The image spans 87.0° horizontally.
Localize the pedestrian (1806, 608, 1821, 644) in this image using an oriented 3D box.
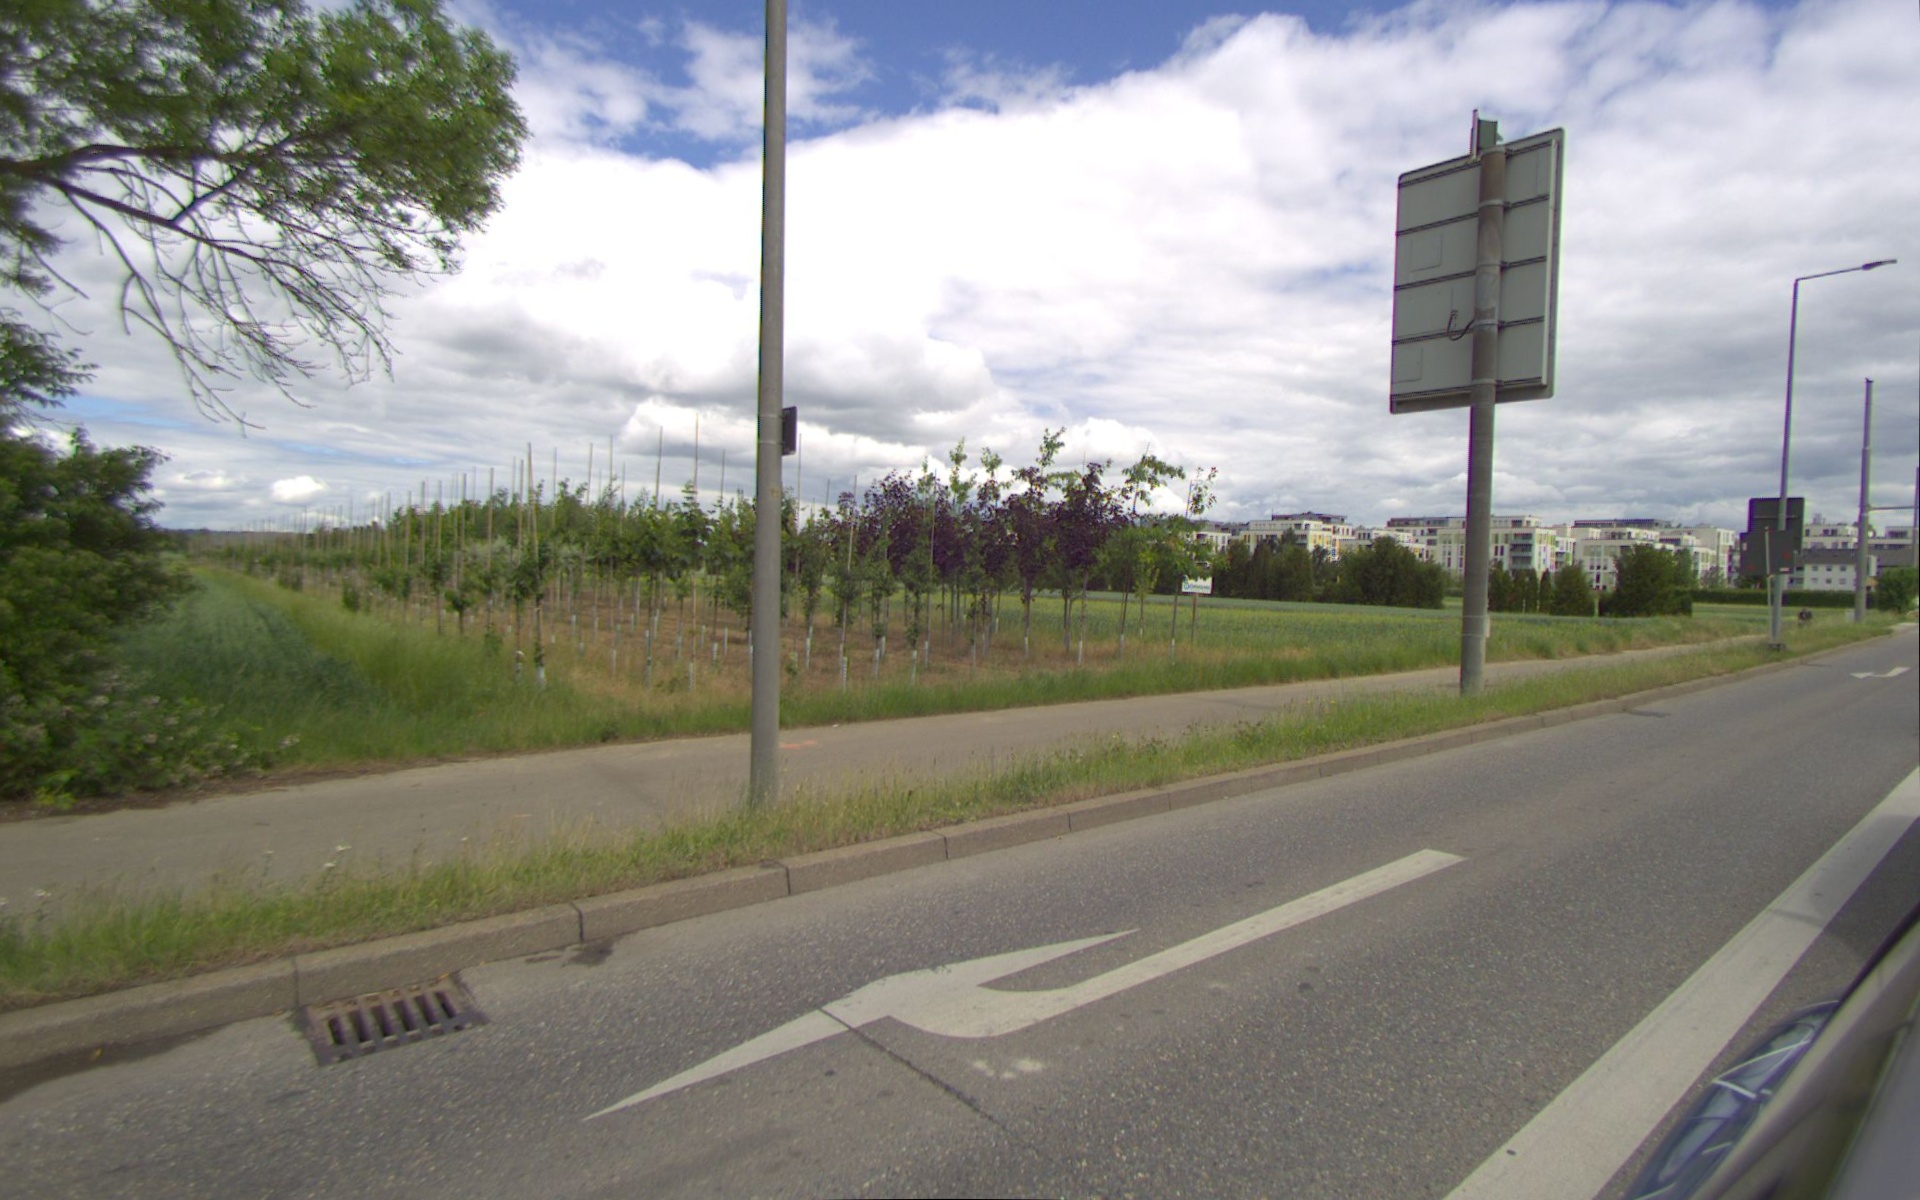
[{"bbox_3d":[41.616,1.249,49.342,0.615,1.724,0.492,0,0,-42],"label":"pedestrian"}]
